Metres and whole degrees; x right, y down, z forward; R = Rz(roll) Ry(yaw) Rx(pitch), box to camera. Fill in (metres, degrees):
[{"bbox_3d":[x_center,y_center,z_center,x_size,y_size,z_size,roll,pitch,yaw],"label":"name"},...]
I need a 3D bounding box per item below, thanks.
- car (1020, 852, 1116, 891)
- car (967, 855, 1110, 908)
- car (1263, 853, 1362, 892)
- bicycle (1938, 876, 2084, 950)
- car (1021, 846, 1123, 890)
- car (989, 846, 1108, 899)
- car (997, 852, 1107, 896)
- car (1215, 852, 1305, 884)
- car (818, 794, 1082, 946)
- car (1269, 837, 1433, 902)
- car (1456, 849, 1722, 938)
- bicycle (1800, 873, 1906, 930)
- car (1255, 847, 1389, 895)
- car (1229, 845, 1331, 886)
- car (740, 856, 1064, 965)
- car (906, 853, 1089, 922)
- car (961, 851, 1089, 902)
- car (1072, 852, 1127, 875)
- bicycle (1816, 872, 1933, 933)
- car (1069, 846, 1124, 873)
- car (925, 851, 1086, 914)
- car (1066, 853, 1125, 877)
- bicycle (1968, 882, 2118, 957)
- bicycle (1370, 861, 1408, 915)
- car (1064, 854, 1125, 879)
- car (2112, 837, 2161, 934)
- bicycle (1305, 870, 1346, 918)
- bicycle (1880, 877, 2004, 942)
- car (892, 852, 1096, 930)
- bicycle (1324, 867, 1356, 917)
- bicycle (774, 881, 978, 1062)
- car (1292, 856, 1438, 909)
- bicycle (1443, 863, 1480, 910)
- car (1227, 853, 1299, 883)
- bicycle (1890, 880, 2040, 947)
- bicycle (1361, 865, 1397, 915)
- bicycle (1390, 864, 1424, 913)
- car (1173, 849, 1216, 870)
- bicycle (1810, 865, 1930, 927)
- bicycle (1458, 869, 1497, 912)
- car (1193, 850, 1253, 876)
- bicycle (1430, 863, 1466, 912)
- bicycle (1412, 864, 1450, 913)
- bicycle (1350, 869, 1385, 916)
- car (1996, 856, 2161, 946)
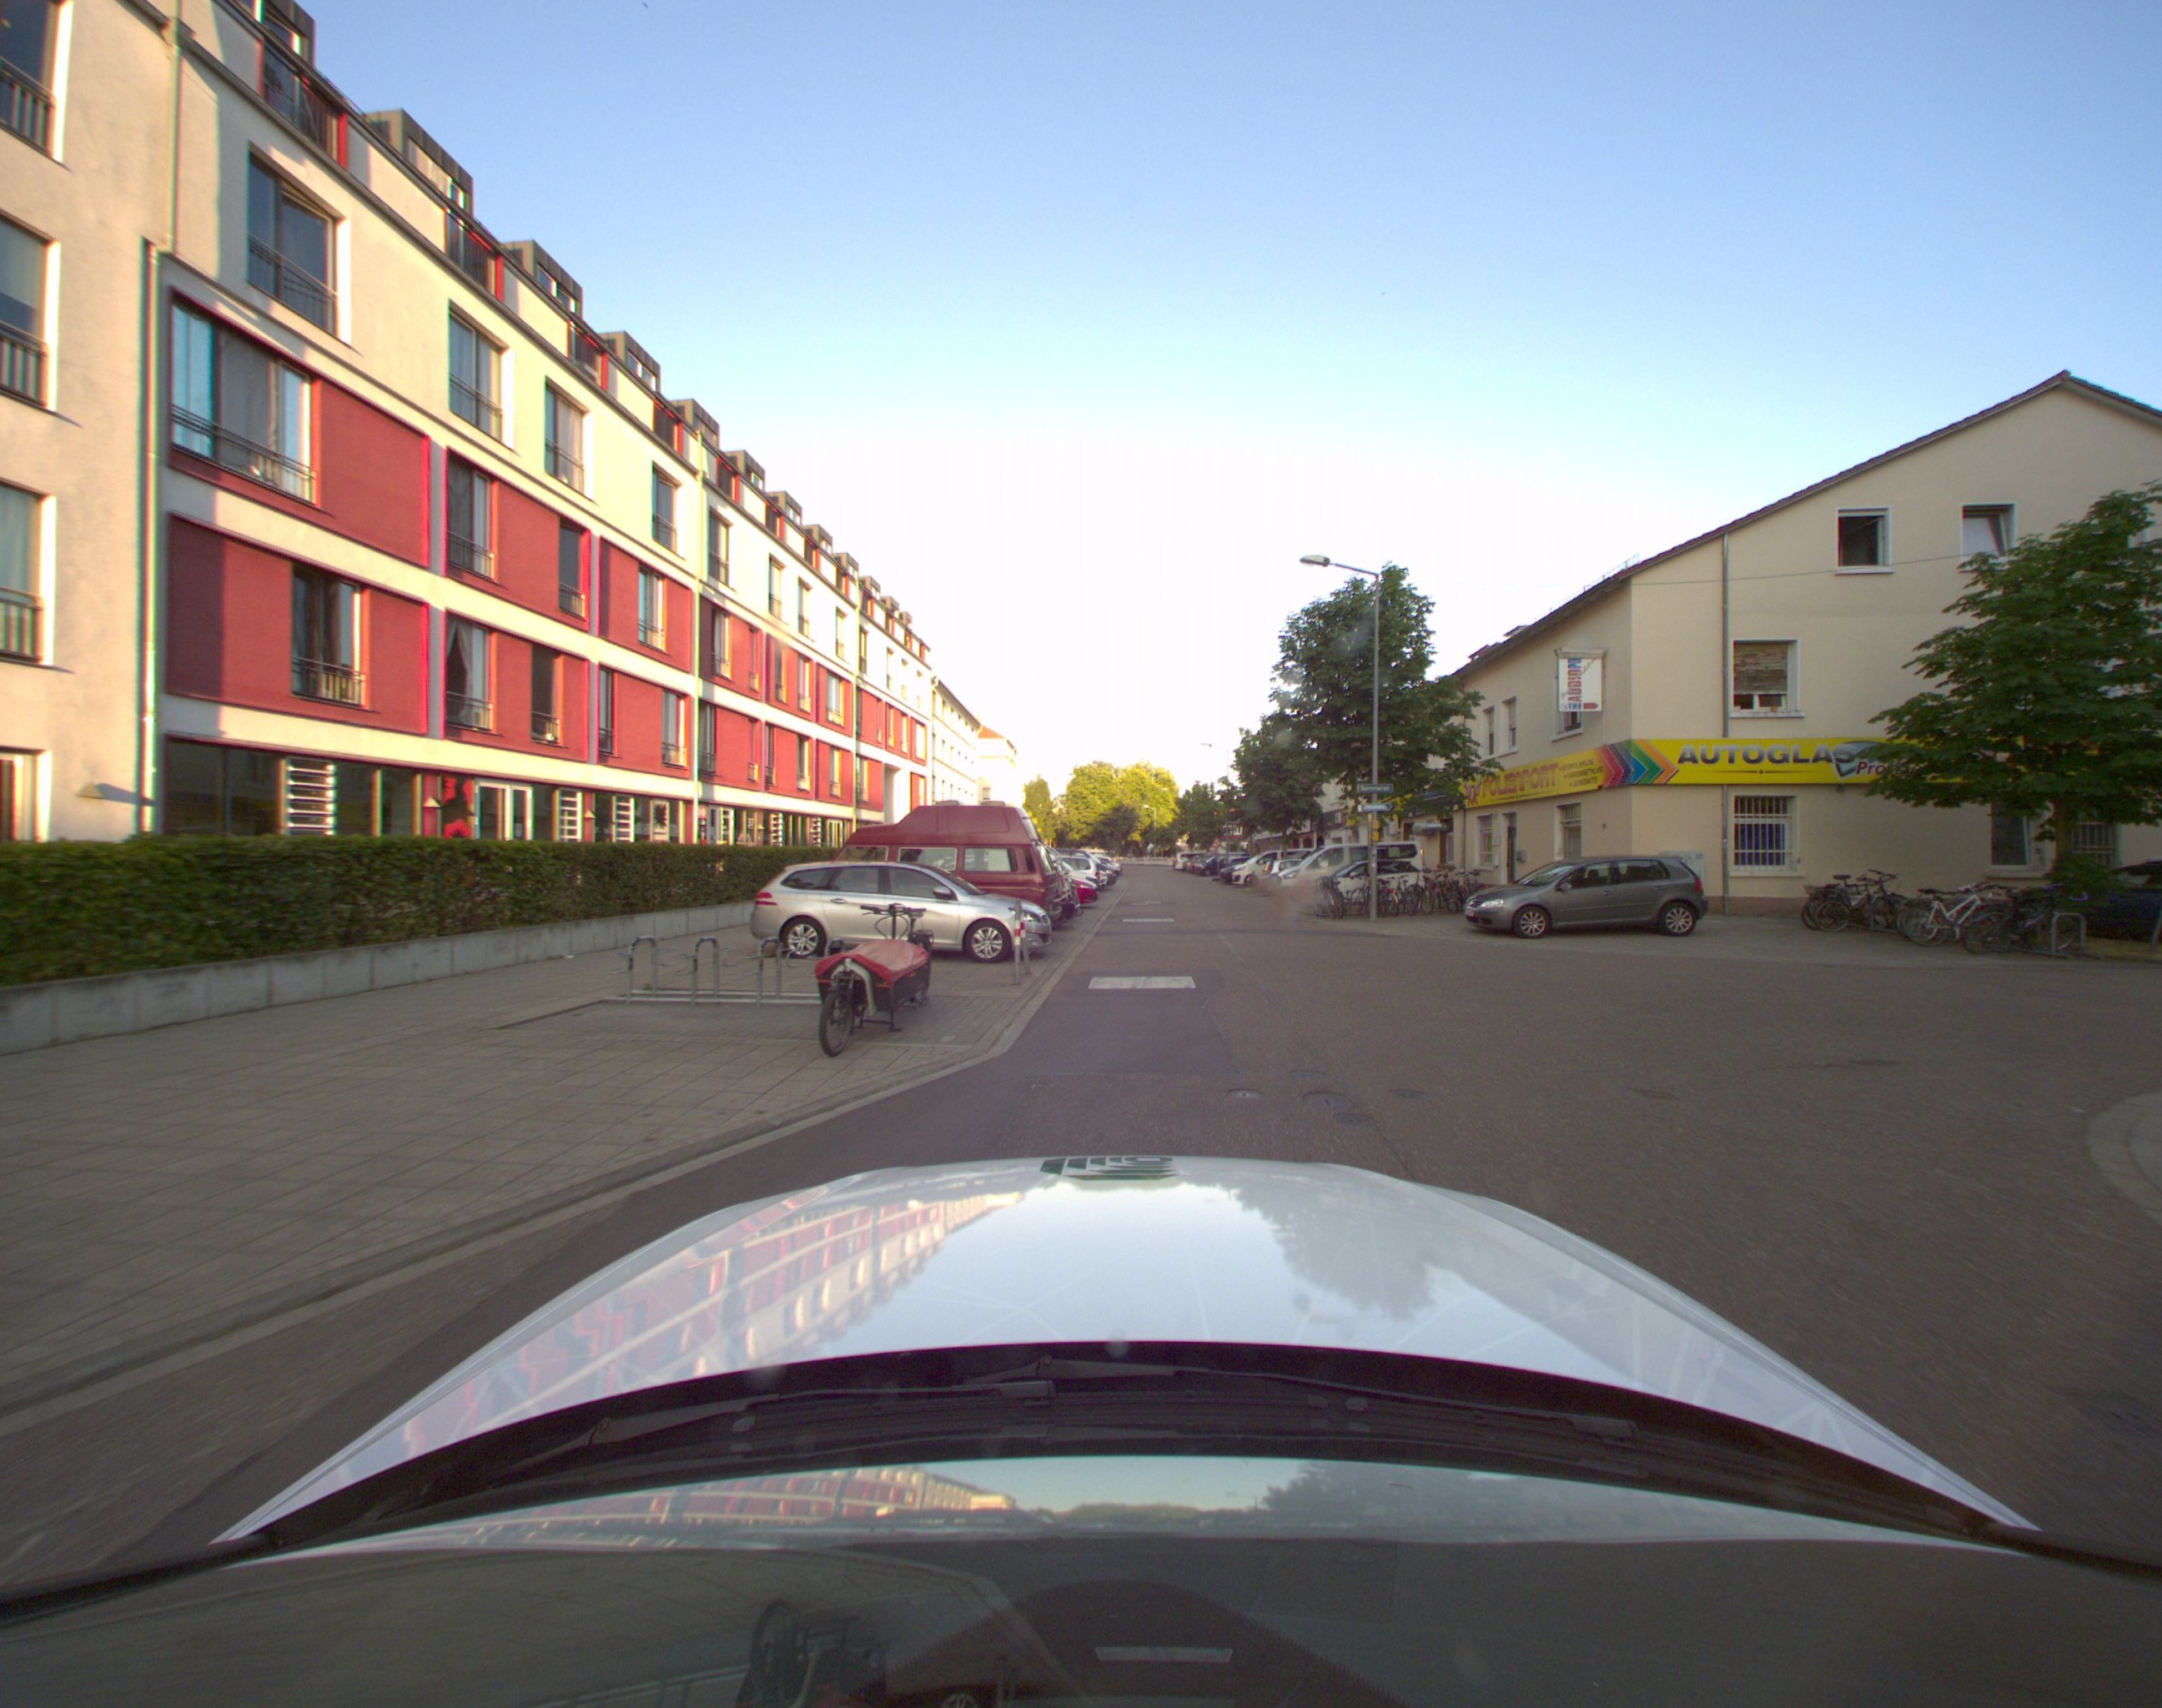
[{"bbox_3d":[-0.548,0.807,37.804,4.236,1.652,1.890,1,0,5],"label":"car"},{"bbox_3d":[-1.282,0.841,25.555,4.188,1.490,1.853,1,0,5],"label":"car"},{"bbox_3d":[10.147,0.807,35.961,3.892,1.526,1.942,-2,0,6],"label":"car"},{"bbox_3d":[14.721,0.931,12.905,1.914,1.128,0.427,1,0,-3],"label":"bicycle"},{"bbox_3d":[-0.382,0.672,40.360,4.827,2.021,1.909,1,0,5],"label":"car"},{"bbox_3d":[-1.182,0.671,30.997,4.236,1.836,2.003,1,0,5],"label":"car"},{"bbox_3d":[-1.135,0.785,33.477,4.236,1.660,2.003,1,0,5],"label":"car"},{"bbox_3d":[10.505,0.802,48.114,4.923,1.689,2.079,-2,0,3],"label":"car"},{"bbox_3d":[-2.357,0.262,15.422,4.488,2.584,2.004,1,0,6],"label":"car"},{"bbox_3d":[9.161,0.534,28.030,4.965,1.983,2.223,-2,0,5],"label":"car"},{"bbox_3d":[9.668,0.732,15.776,4.030,1.514,1.759,-1,1,6],"label":"car"},{"bbox_3d":[14.815,0.911,15.643,1.595,1.019,0.344,1,2,4],"label":"bicycle"},{"bbox_3d":[9.733,0.666,33.247,4.919,1.742,2.053,-2,0,6],"label":"car"},{"bbox_3d":[10.465,0.600,43.197,4.923,1.958,2.051,-2,-1,3],"label":"car"},{"bbox_3d":[-2.638,0.819,12.797,4.598,1.460,1.881,1,0,2],"label":"car"},{"bbox_3d":[-2.038,0.799,20.552,4.182,1.538,1.847,1,0,11],"label":"car"},{"bbox_3d":[-1.890,0.765,28.606,4.191,1.616,2.002,1,0,3],"label":"car"},{"bbox_3d":[1.516,0.738,66.198,4.236,1.749,2.003,1,0,5],"label":"car"},{"bbox_3d":[14.881,0.904,15.287,1.723,1.070,0.344,1,2,4],"label":"bicycle"},{"bbox_3d":[1.329,0.427,68.866,4.512,2.134,2.003,1,0,5],"label":"car"},{"bbox_3d":[-2.024,0.767,22.823,4.191,1.575,2.002,1,0,3],"label":"car"},{"bbox_3d":[1.124,0.811,61.434,4.236,1.714,2.003,1,0,5],"label":"car"},{"bbox_3d":[14.695,0.993,12.459,1.845,1.075,0.428,1,2,-3],"label":"bicycle"},{"bbox_3d":[7.988,0.845,21.177,0.384,1.304,2.020,-1,0,6],"label":"bicycle"},{"bbox_3d":[1.035,0.891,58.686,4.237,1.622,2.002,1,0,4],"label":"car"},{"bbox_3d":[21.219,0.615,13.815,1.864,1.831,4.583,0,1,4],"label":"car"},{"bbox_3d":[6.308,1.009,21.107,0.436,1.130,2.017,-1,0,0],"label":"bicycle"},{"bbox_3d":[14.857,0.943,14.067,1.594,1.041,0.344,1,2,6],"label":"bicycle"},{"bbox_3d":[-1.819,0.773,17.954,4.191,1.538,1.792,1,0,3],"label":"car"},{"bbox_3d":[6.739,0.970,21.257,0.384,1.200,2.020,-1,0,6],"label":"bicycle"},{"bbox_3d":[-1.698,0.908,7.443,0.803,1.221,2.871,1,0,7],"label":"bicycle"},{"bbox_3d":[8.730,0.844,25.263,3.902,1.451,1.769,-2,0,2],"label":"car"},{"bbox_3d":[9.750,0.817,20.905,0.351,1.143,1.483,-1,0,6],"label":"bicycle"},{"bbox_3d":[11.758,0.888,52.942,4.298,1.804,1.812,-2,-1,3],"label":"car"},{"bbox_3d":[14.683,0.974,13.552,1.840,1.010,0.429,1,2,6],"label":"bicycle"},{"bbox_3d":[7.728,0.912,21.190,0.384,1.200,2.020,-1,0,6],"label":"bicycle"},{"bbox_3d":[8.390,0.870,20.984,0.384,1.200,1.483,-1,0,6],"label":"bicycle"},{"bbox_3d":[11.322,0.533,81.243,3.955,1.912,2.049,-2,-1,0],"label":"car"},{"bbox_3d":[15.583,0.814,16.102,1.850,1.149,0.344,1,2,6],"label":"bicycle"},{"bbox_3d":[10.158,0.923,20.914,0.386,1.017,1.483,-1,0,6],"label":"bicycle"},{"bbox_3d":[11.433,0.695,65.700,4.464,1.912,1.688,-2,-1,0],"label":"car"},{"bbox_3d":[9.385,0.830,20.855,0.351,1.200,1.483,-1,0,6],"label":"bicycle"},{"bbox_3d":[8.960,0.862,20.902,0.442,1.200,1.483,-1,0,6],"label":"bicycle"},{"bbox_3d":[7.447,0.983,21.228,0.384,1.114,2.020,-1,0,6],"label":"bicycle"},{"bbox_3d":[18.994,0.791,13.914,1.733,1.509,4.576,0,0,3],"label":"car"}]
